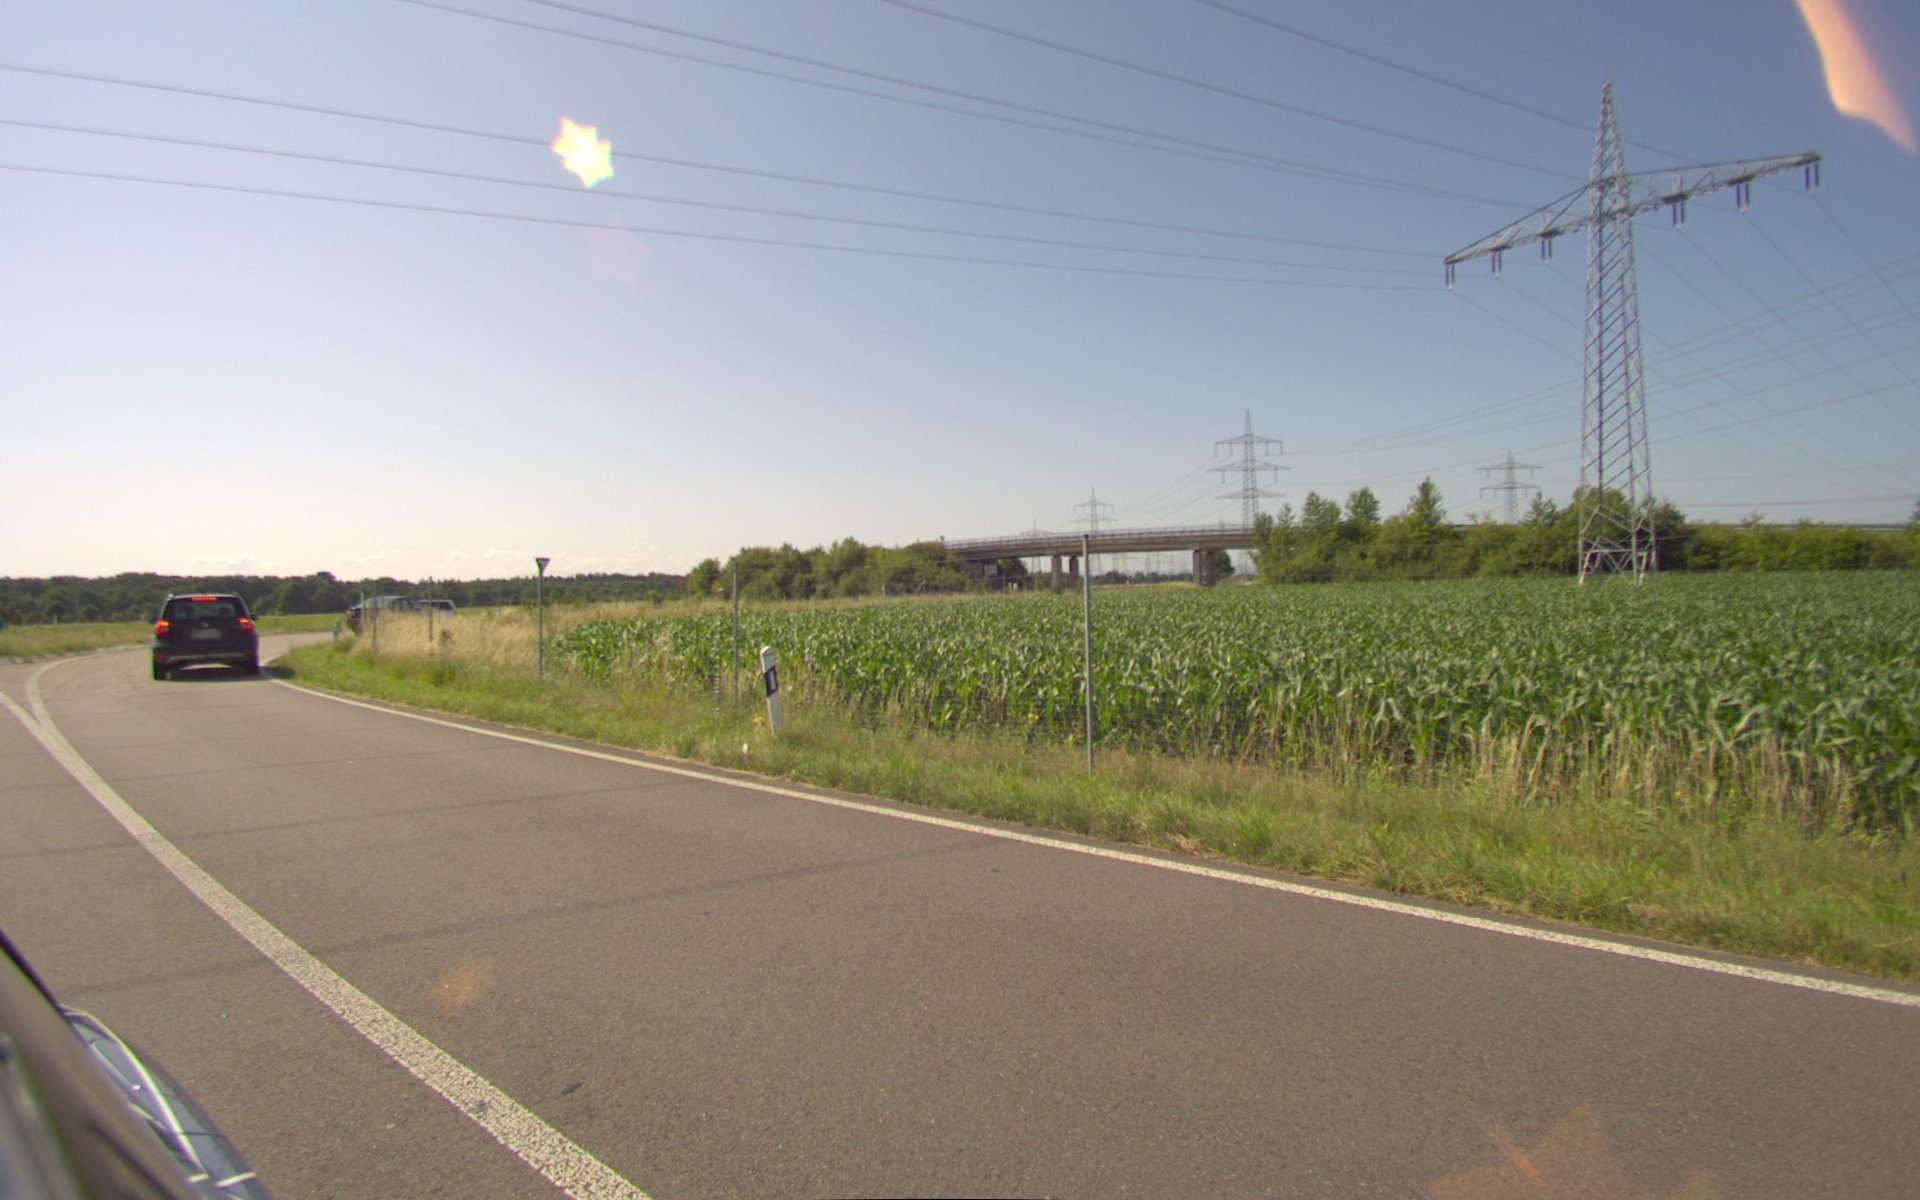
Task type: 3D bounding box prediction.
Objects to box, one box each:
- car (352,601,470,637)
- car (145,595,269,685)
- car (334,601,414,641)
[{"bbox_3d":[-30.241,0.998,55.897,2.102,1.652,5.280,-1,2,42],"label":"car"},{"bbox_3d":[-16.074,0.765,21.609,1.958,1.719,4.270,0,0,-38],"label":"car"},{"bbox_3d":[-23.279,0.781,40.380,1.750,1.467,4.606,-1,0,-17],"label":"car"}]
